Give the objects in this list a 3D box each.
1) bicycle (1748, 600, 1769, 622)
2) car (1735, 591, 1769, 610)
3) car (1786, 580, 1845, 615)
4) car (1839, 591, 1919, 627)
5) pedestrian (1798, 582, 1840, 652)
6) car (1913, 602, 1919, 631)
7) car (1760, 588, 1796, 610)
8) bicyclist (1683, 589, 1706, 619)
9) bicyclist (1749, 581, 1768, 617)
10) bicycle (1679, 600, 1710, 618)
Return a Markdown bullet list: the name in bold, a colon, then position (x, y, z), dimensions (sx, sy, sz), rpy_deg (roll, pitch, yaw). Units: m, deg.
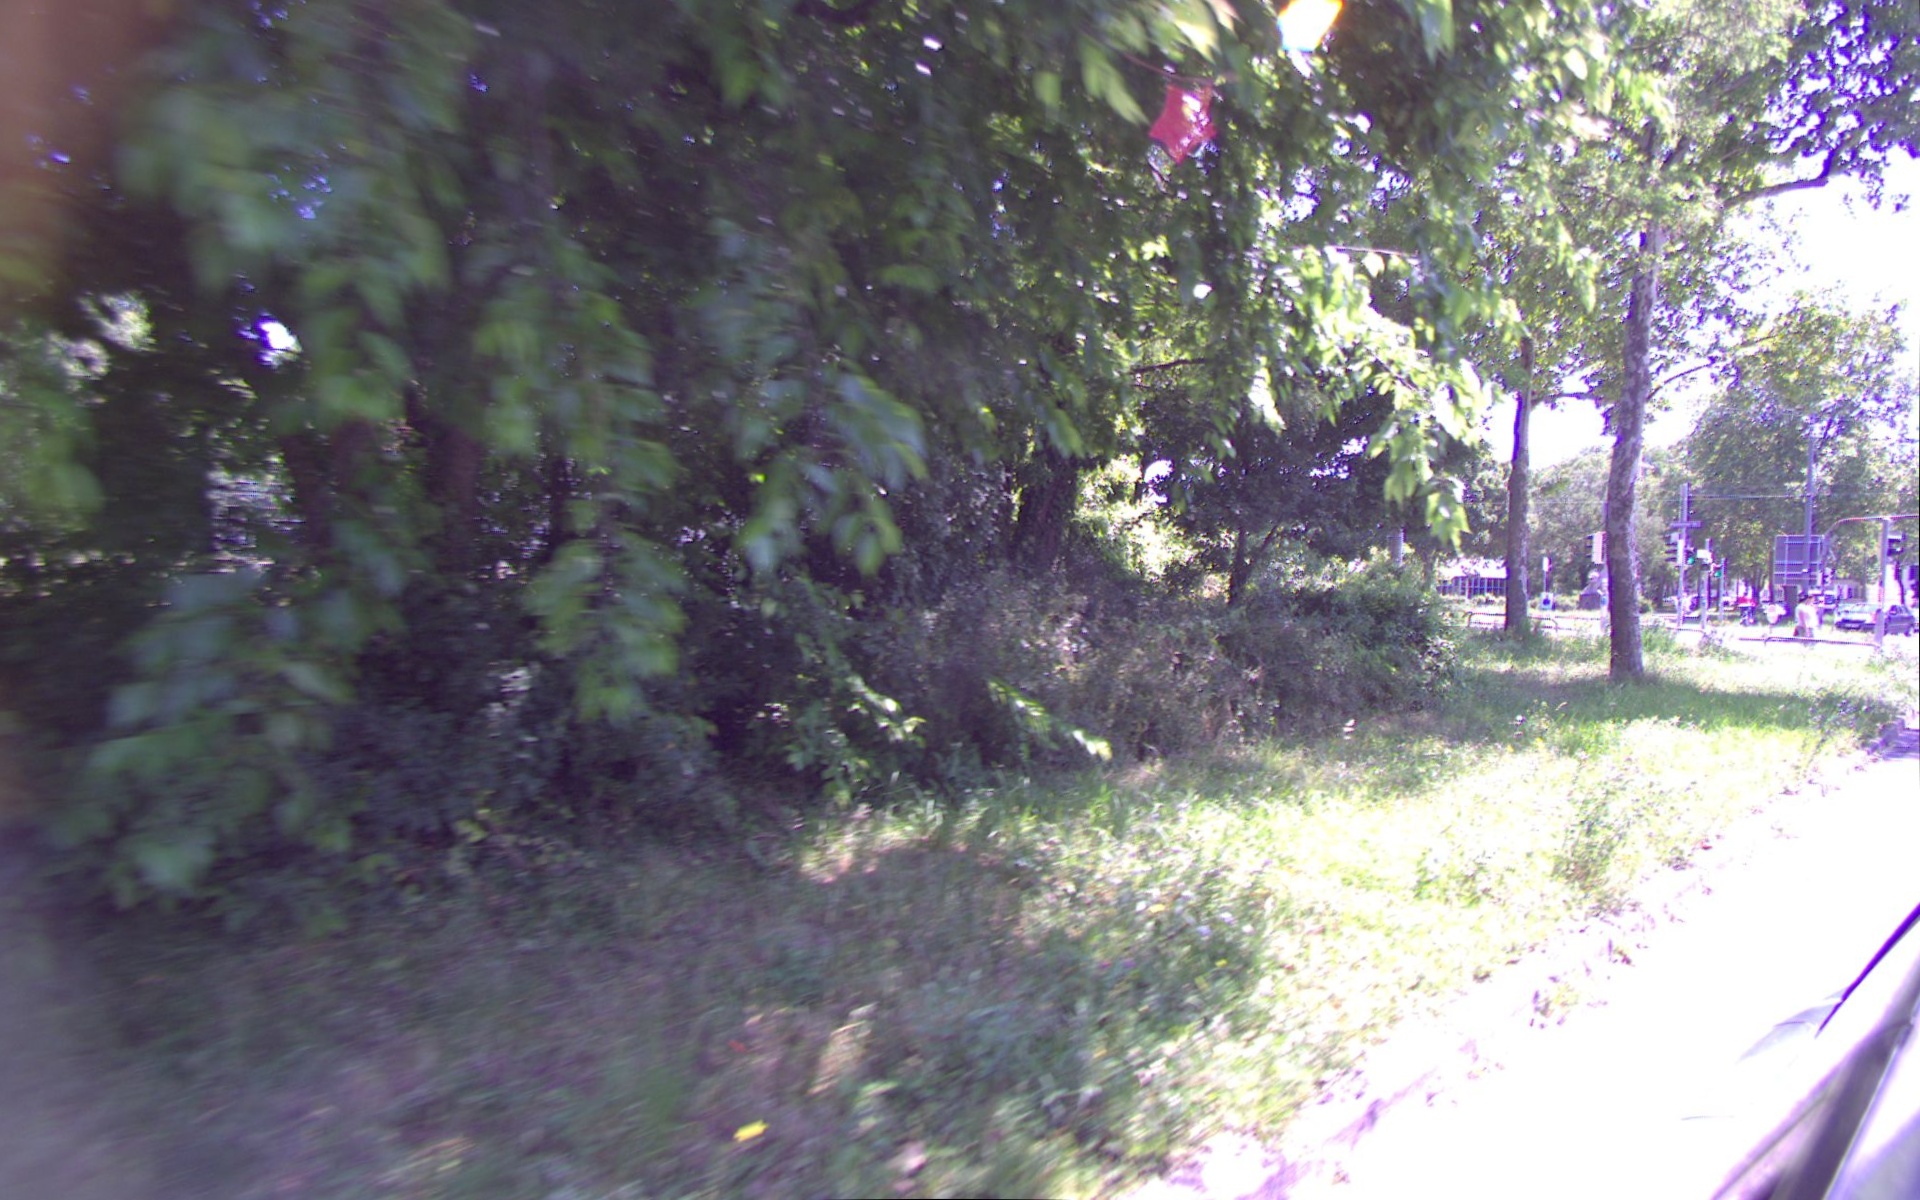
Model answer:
- **bicycle**: position (36.003, 0.484, 45.630), dimensions (0.587, 0.907, 1.783), rpy_deg (3, 2, 43)
- **car**: position (83.377, 0.054, 106.633), dimensions (1.981, 1.860, 3.963), rpy_deg (2, 2, 27)
- **car**: position (71.251, -0.254, 84.390), dimensions (2.899, 2.687, 6.291), rpy_deg (3, 2, 33)
- **car**: position (40.341, 0.390, 44.033), dimensions (3.784, 1.480, 1.658), rpy_deg (1, 2, -24)
- **pedestrian**: position (18.779, 0.362, 22.131), dimensions (0.618, 1.502, 0.554), rpy_deg (1, 1, -39)
- **car**: position (47.573, 0.830, 48.794), dimensions (3.674, 1.349, 1.792), rpy_deg (0, 2, -38)
- **car**: position (78.640, -0.119, 97.348), dimensions (1.983, 2.038, 3.960), rpy_deg (2, 2, 29)
- **bicyclist**: position (33.741, 0.166, 46.479), dimensions (0.653, 1.355, 0.602), rpy_deg (1, 1, -29)
- **bicyclist**: position (35.931, -0.035, 45.519), dimensions (0.577, 1.575, 0.663), rpy_deg (2, 2, 43)
- **bicycle**: position (33.761, 0.423, 46.515), dimensions (1.634, 0.773, 0.466), rpy_deg (1, 2, -29)
